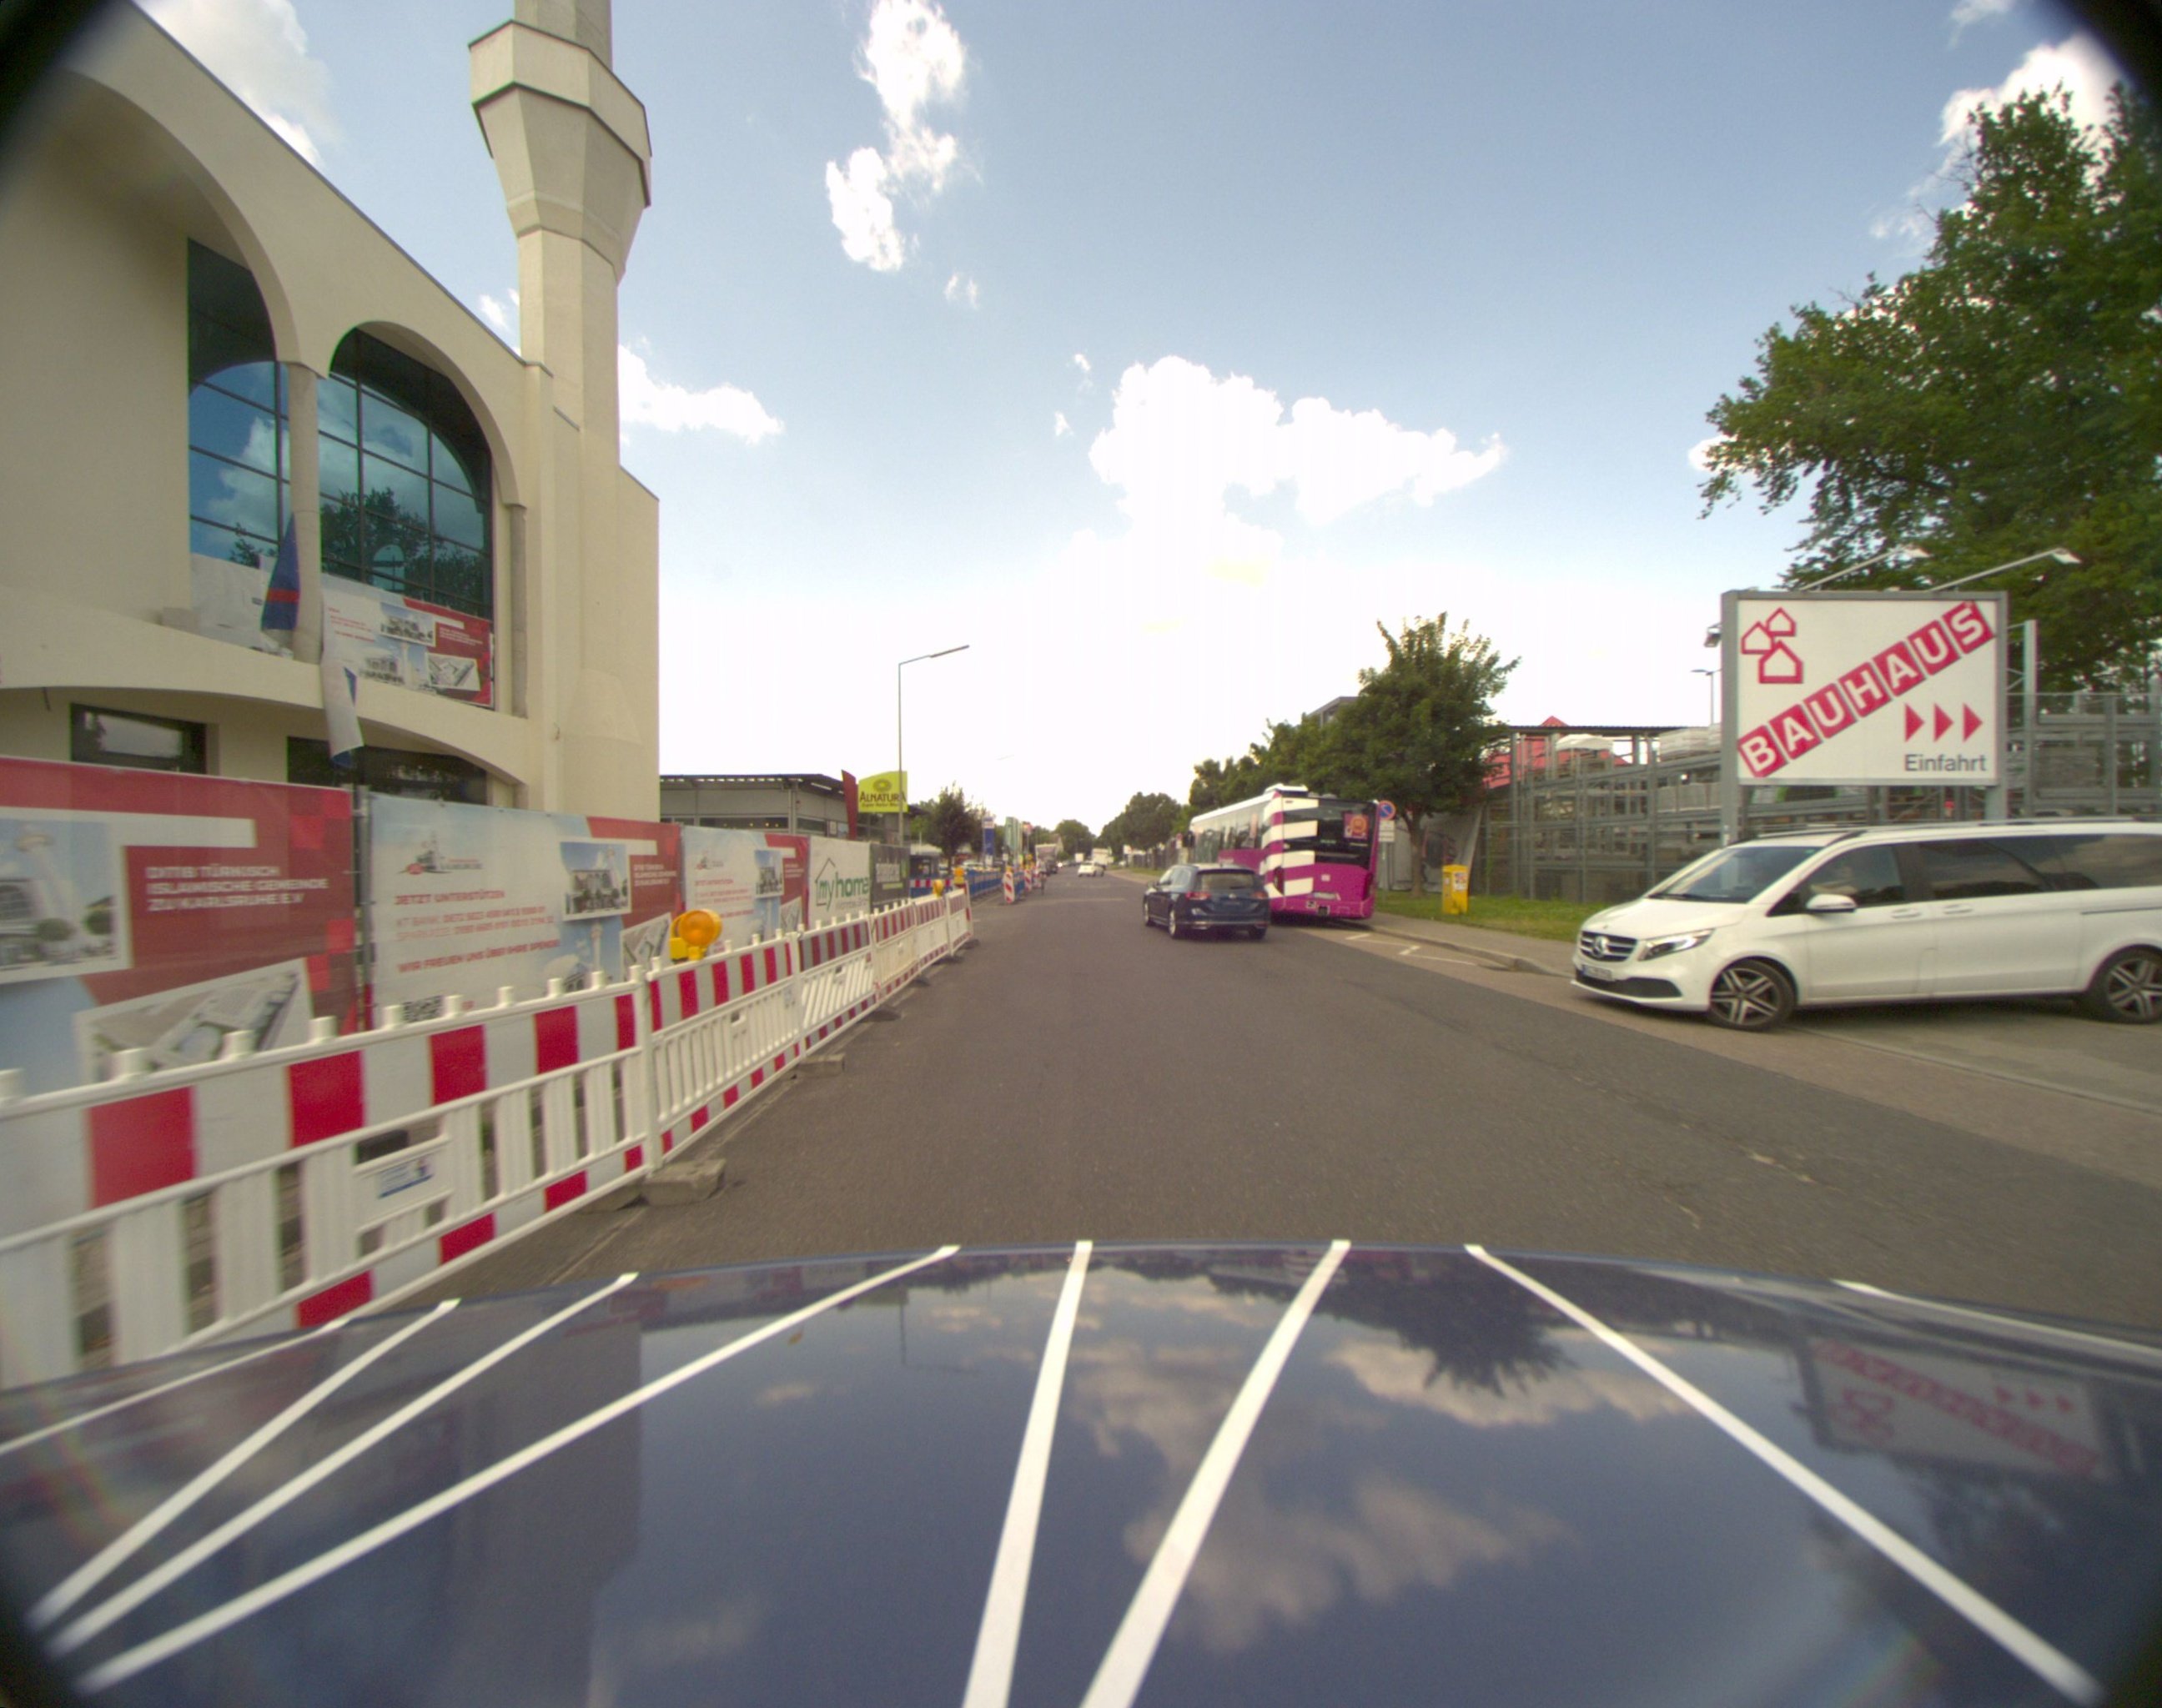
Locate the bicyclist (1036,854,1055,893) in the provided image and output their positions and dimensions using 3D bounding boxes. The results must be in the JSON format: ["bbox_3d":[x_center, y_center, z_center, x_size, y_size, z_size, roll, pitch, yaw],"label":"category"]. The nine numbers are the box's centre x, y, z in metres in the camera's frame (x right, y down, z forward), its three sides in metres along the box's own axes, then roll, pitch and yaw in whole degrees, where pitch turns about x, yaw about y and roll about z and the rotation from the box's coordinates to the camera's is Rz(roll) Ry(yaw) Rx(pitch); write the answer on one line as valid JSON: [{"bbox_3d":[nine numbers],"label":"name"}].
[{"bbox_3d":[-1.666,0.921,36.203,0.808,1.782,1.206,-2,1,-2],"label":"bicyclist"}]

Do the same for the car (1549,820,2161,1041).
[{"bbox_3d":[7.948,0.691,7.781,5.011,1.938,1.993,-1,0,5],"label":"car"}]

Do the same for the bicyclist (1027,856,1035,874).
[{"bbox_3d":[-5.634,1.231,85.906,0.796,1.899,0.829,3,1,1],"label":"bicyclist"}]

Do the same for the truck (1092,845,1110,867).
[{"bbox_3d":[3.514,0.283,135.837,2.755,3.701,7.170,1,0,-1],"label":"truck"}]

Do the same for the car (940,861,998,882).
[{"bbox_3d":[-8.442,1.313,57.643,4.114,1.454,1.990,1,0,-2],"label":"car"}]

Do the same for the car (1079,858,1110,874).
[{"bbox_3d":[1.343,1.157,74.709,1.684,1.461,3.618,1,0,24],"label":"car"}]

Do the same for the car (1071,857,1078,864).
[{"bbox_3d":[-1.679,1.697,196.455,1.797,1.881,3.999,0,0,-2],"label":"car"}]

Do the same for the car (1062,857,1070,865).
[{"bbox_3d":[-3.178,1.508,161.391,1.725,1.565,4.154,0,0,-2],"label":"car"}]

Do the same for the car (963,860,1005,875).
[{"bbox_3d":[-9.675,1.381,76.055,3.963,1.402,1.796,1,0,-4],"label":"car"}]

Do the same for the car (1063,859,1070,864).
[{"bbox_3d":[-4.128,2.233,218.006,1.983,1.467,3.999,0,0,-2],"label":"car"}]

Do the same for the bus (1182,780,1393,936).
[{"bbox_3d":[5.575,0.094,23.874,2.670,3.402,13.216,3,0,-1],"label":"bus"}]

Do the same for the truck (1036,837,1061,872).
[{"bbox_3d":[-4.039,0.106,96.455,2.785,4.092,8.278,-3,0,-1],"label":"truck"}]

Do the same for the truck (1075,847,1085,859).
[{"bbox_3d":[-0.471,-0.288,255.844,2.980,4.131,9.665,0,0,-2],"label":"truck"}]

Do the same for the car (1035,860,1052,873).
[{"bbox_3d":[-4.084,1.347,82.545,1.666,1.332,3.984,-4,0,-2],"label":"car"}]

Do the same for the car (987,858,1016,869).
[{"bbox_3d":[-11.122,1.379,106.464,3.821,1.490,1.653,0,0,0],"label":"car"}]

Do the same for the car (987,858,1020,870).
[{"bbox_3d":[-9.340,1.199,91.769,3.896,1.513,1.748,0,0,-6],"label":"car"}]

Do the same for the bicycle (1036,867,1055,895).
[{"bbox_3d":[-1.662,1.261,36.213,0.800,1.173,2.626,-2,0,-2],"label":"bicycle"}]

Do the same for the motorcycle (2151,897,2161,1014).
[{"bbox_3d":[12.279,1.055,7.432,2.227,1.206,0.994,0,0,0],"label":"motorcycle"}]

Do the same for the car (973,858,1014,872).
[{"bbox_3d":[-9.648,1.207,83.901,4.320,1.435,1.846,1,0,-3],"label":"car"}]

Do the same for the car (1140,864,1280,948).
[{"bbox_3d":[2.494,0.966,15.816,1.801,1.450,4.383,1,0,-5],"label":"car"}]

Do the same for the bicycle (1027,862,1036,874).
[{"bbox_3d":[-5.642,1.530,85.893,0.794,1.287,1.882,3,0,1],"label":"bicycle"}]

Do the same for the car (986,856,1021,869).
[{"bbox_3d":[-11.144,1.248,109.112,4.906,1.777,1.902,0,0,-2],"label":"car"}]
